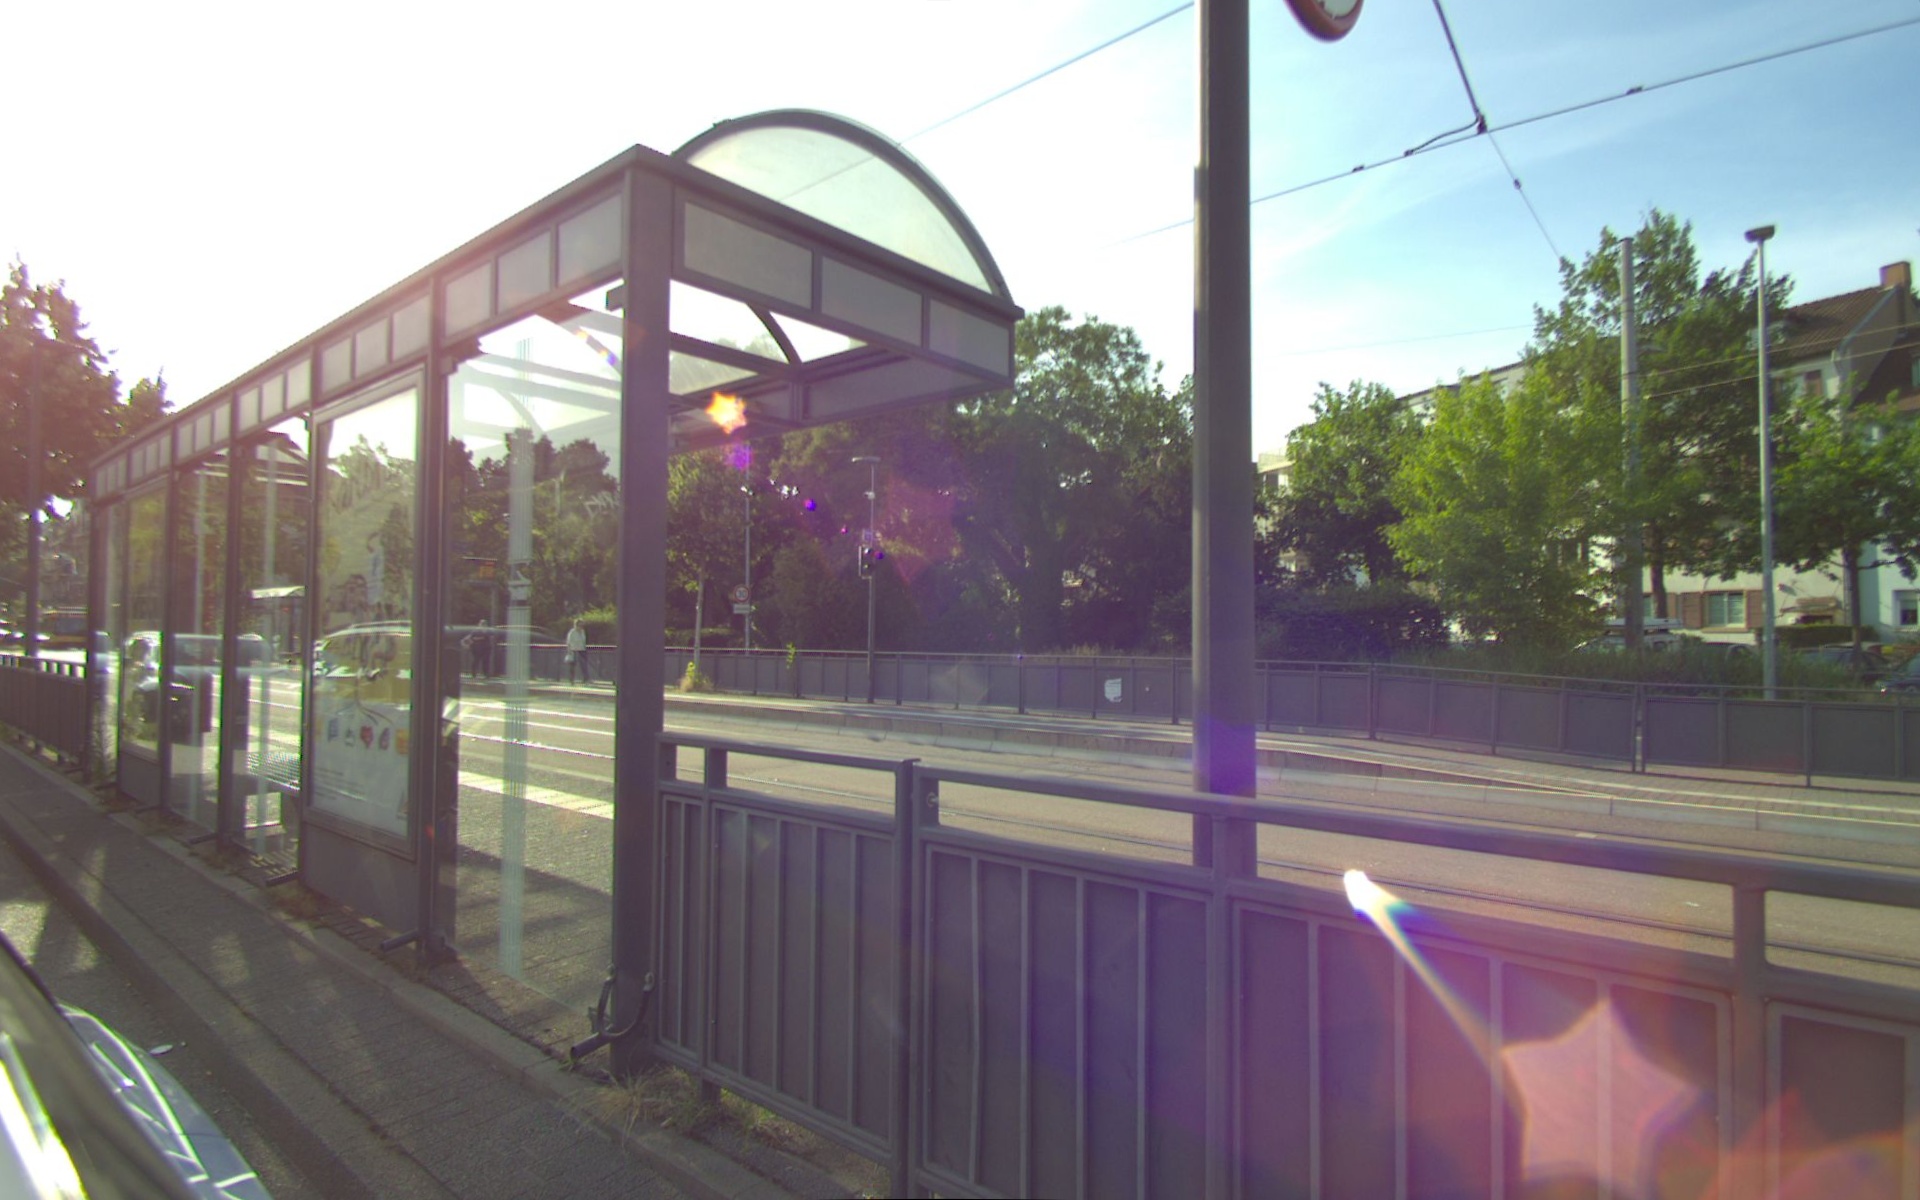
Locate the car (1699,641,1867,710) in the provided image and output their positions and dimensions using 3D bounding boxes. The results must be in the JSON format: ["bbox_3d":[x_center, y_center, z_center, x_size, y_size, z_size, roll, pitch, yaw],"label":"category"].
[{"bbox_3d":[18.428,1.626,22.629,3.935,1.409,2.004,2,-3,-37],"label":"car"}]

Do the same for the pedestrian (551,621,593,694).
[{"bbox_3d":[-9.334,1.385,24.367,0.618,1.697,0.613,-2,-6,41],"label":"pedestrian"}]

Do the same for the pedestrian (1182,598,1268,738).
[{"bbox_3d":[3.335,0.853,12.744,0.877,1.697,0.547,-2,-6,41],"label":"pedestrian"}]

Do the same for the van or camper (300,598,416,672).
[{"bbox_3d":[-26.104,1.440,43.763,6.408,2.990,2.494,-1,0,41],"label":"van or camper"}]

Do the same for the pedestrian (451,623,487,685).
[{"bbox_3d":[-13.789,1.516,28.428,0.618,1.697,0.613,-2,-6,41],"label":"pedestrian"}]

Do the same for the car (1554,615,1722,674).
[{"bbox_3d":[18.192,1.195,27.167,3.930,1.497,1.854,1,-3,-22],"label":"car"}]

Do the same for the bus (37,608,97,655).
[{"bbox_3d":[-70.851,2.427,80.203,9.258,3.461,2.405,-1,0,41],"label":"bus"}]

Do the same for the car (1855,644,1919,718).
[{"bbox_3d":[19.882,1.602,20.403,3.935,1.409,2.004,2,-3,-37],"label":"car"}]
